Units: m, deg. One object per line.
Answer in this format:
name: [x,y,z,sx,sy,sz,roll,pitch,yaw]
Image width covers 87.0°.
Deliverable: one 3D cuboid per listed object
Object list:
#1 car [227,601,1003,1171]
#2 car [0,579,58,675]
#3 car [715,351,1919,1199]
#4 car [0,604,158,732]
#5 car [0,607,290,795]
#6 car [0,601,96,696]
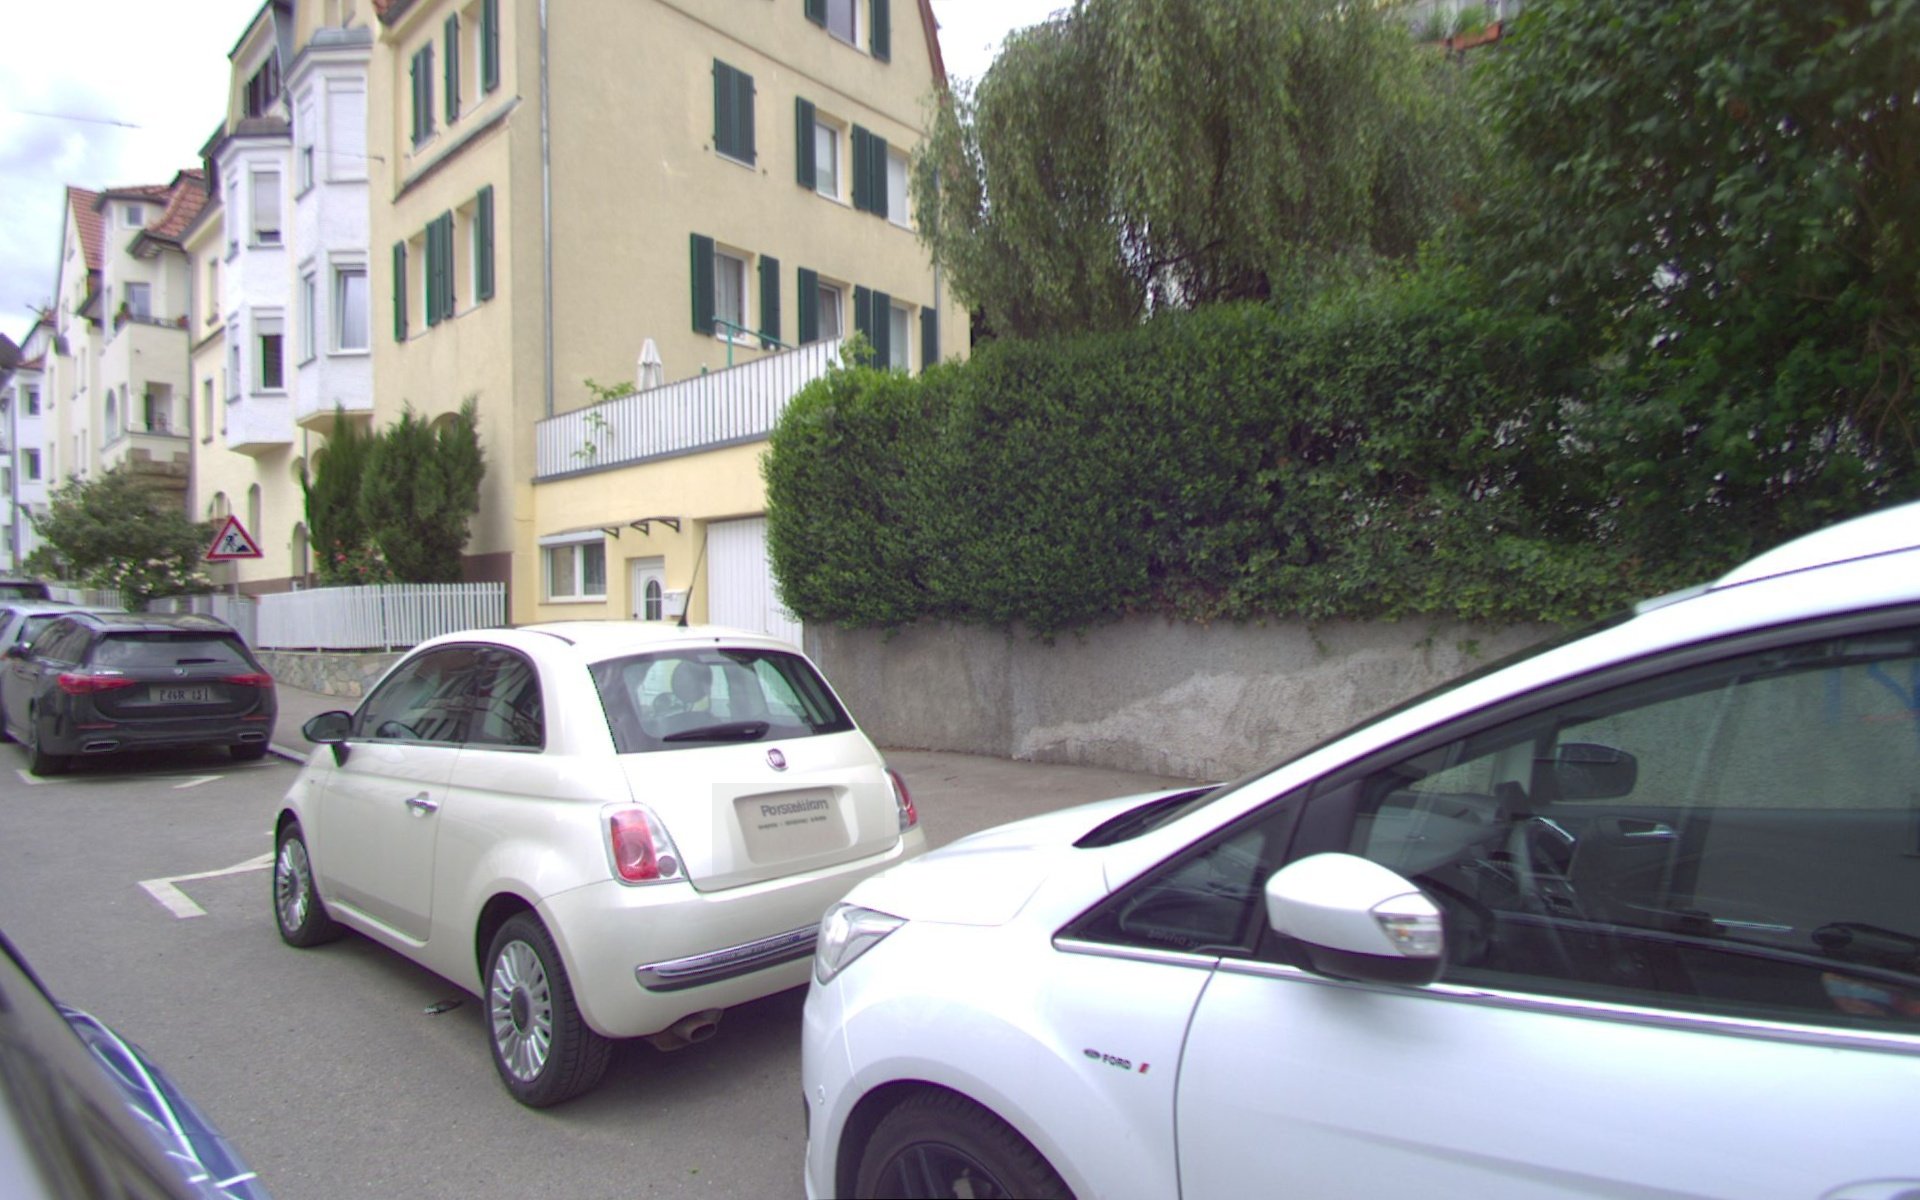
car: [-1.719,0.777,4.420,3.612,1.464,1.590,-1,-3,41]
car: [-19.763,0.477,20.367,4.145,1.810,1.732,1,0,39]
car: [1.627,0.602,1.475,4.149,1.672,1.785,-2,-2,41]
car: [-12.367,0.811,13.696,4.121,1.439,1.622,1,-1,41]
car: [-8.583,0.840,10.381,4.327,1.491,1.784,0,0,41]
car: [-15.995,0.755,17.044,3.701,1.409,1.622,1,-1,41]
